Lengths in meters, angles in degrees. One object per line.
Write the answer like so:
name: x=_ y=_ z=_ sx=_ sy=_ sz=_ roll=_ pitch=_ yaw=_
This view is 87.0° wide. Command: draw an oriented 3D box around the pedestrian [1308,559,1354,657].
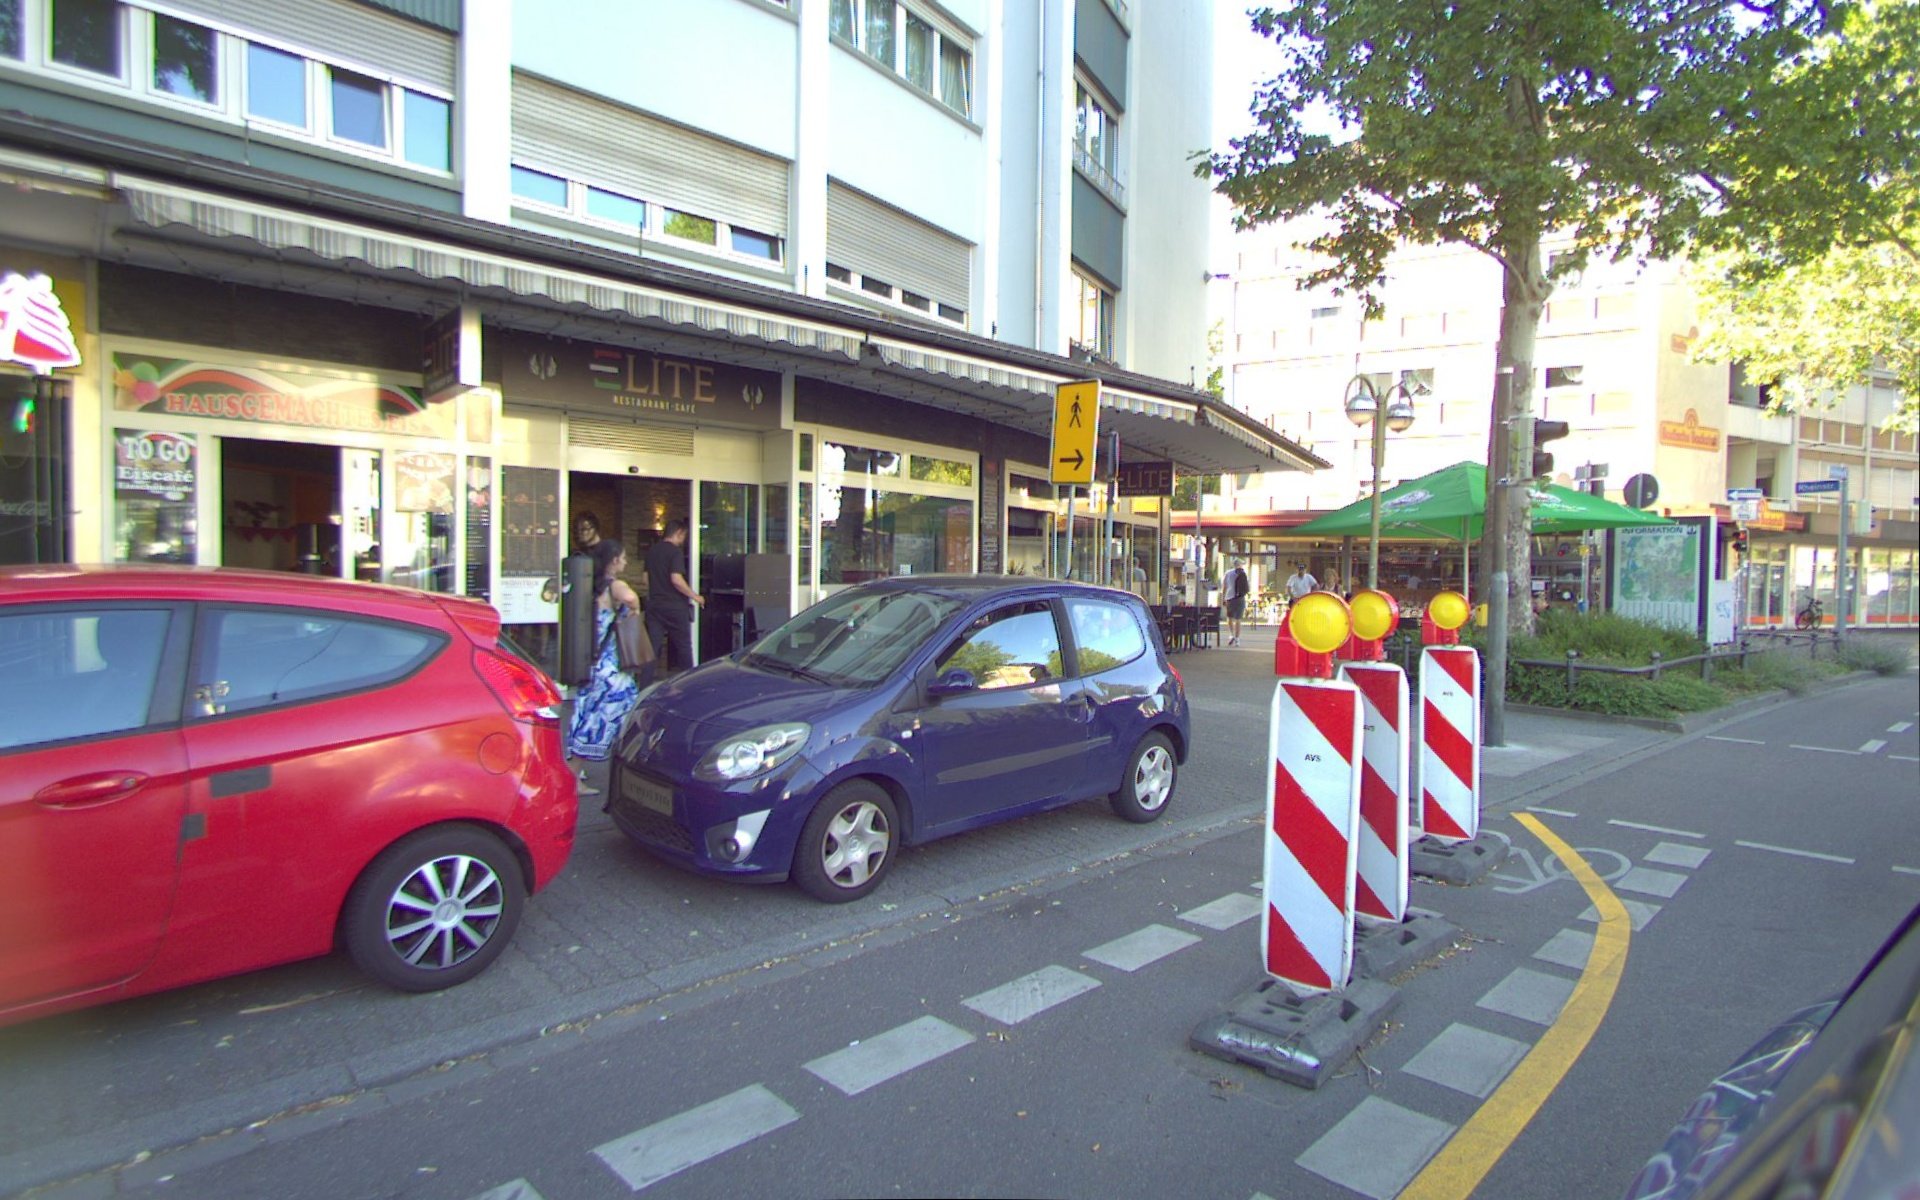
pedestrian: x=6.467 y=0.125 z=17.630 sx=0.624 sy=1.657 sz=0.525 roll=2 pitch=1 yaw=34

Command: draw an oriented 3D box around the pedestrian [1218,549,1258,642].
pedestrian: x=6.104 y=-0.116 z=22.236 sx=0.643 sy=1.983 sz=0.881 roll=1 pitch=1 yaw=28

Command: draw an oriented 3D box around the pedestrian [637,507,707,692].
pedestrian: x=-2.886 y=-0.020 z=10.144 sx=0.547 sy=1.800 sz=0.395 roll=-1 pitch=4 yaw=-43

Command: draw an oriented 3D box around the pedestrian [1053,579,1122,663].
pedestrian: x=1.923 y=0.298 z=15.261 sx=0.776 sy=1.207 sz=0.648 roll=0 pitch=2 yaw=-34

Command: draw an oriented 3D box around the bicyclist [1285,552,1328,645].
bicyclist: x=7.101 y=-0.046 z=20.717 sx=0.745 sy=1.849 sz=0.919 roll=1 pitch=1 yaw=22

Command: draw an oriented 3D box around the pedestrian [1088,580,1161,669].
pedestrian: x=2.337 y=0.333 z=14.456 sx=0.685 sy=1.207 sz=0.881 roll=0 pitch=1 yaw=-18

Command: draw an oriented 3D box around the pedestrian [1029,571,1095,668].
pedestrian: x=1.433 y=0.258 z=14.336 sx=0.685 sy=1.323 sz=0.793 roll=1 pitch=1 yaw=-13

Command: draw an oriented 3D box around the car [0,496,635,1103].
car: x=-3.235 y=0.476 z=3.251 sx=3.761 sy=1.614 sz=1.784 roll=-1 pitch=5 yaw=-45

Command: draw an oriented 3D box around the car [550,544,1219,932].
car: x=-0.262 y=0.506 z=5.916 sx=3.551 sy=1.485 sz=1.769 roll=-1 pitch=5 yaw=-44

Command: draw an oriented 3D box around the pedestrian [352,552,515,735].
pedestrian: x=-4.263 y=0.300 z=8.178 sx=0.937 sy=1.352 sz=1.069 roll=0 pitch=2 yaw=-41

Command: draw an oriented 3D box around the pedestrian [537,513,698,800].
pedestrian: x=-2.137 y=0.312 z=6.339 sx=0.783 sy=1.667 sz=0.583 roll=-2 pitch=2 yaw=-42

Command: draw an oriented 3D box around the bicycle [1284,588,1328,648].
bicycle: x=7.062 y=0.330 z=20.626 sx=0.743 sy=1.144 sz=1.873 roll=1 pitch=1 yaw=22
